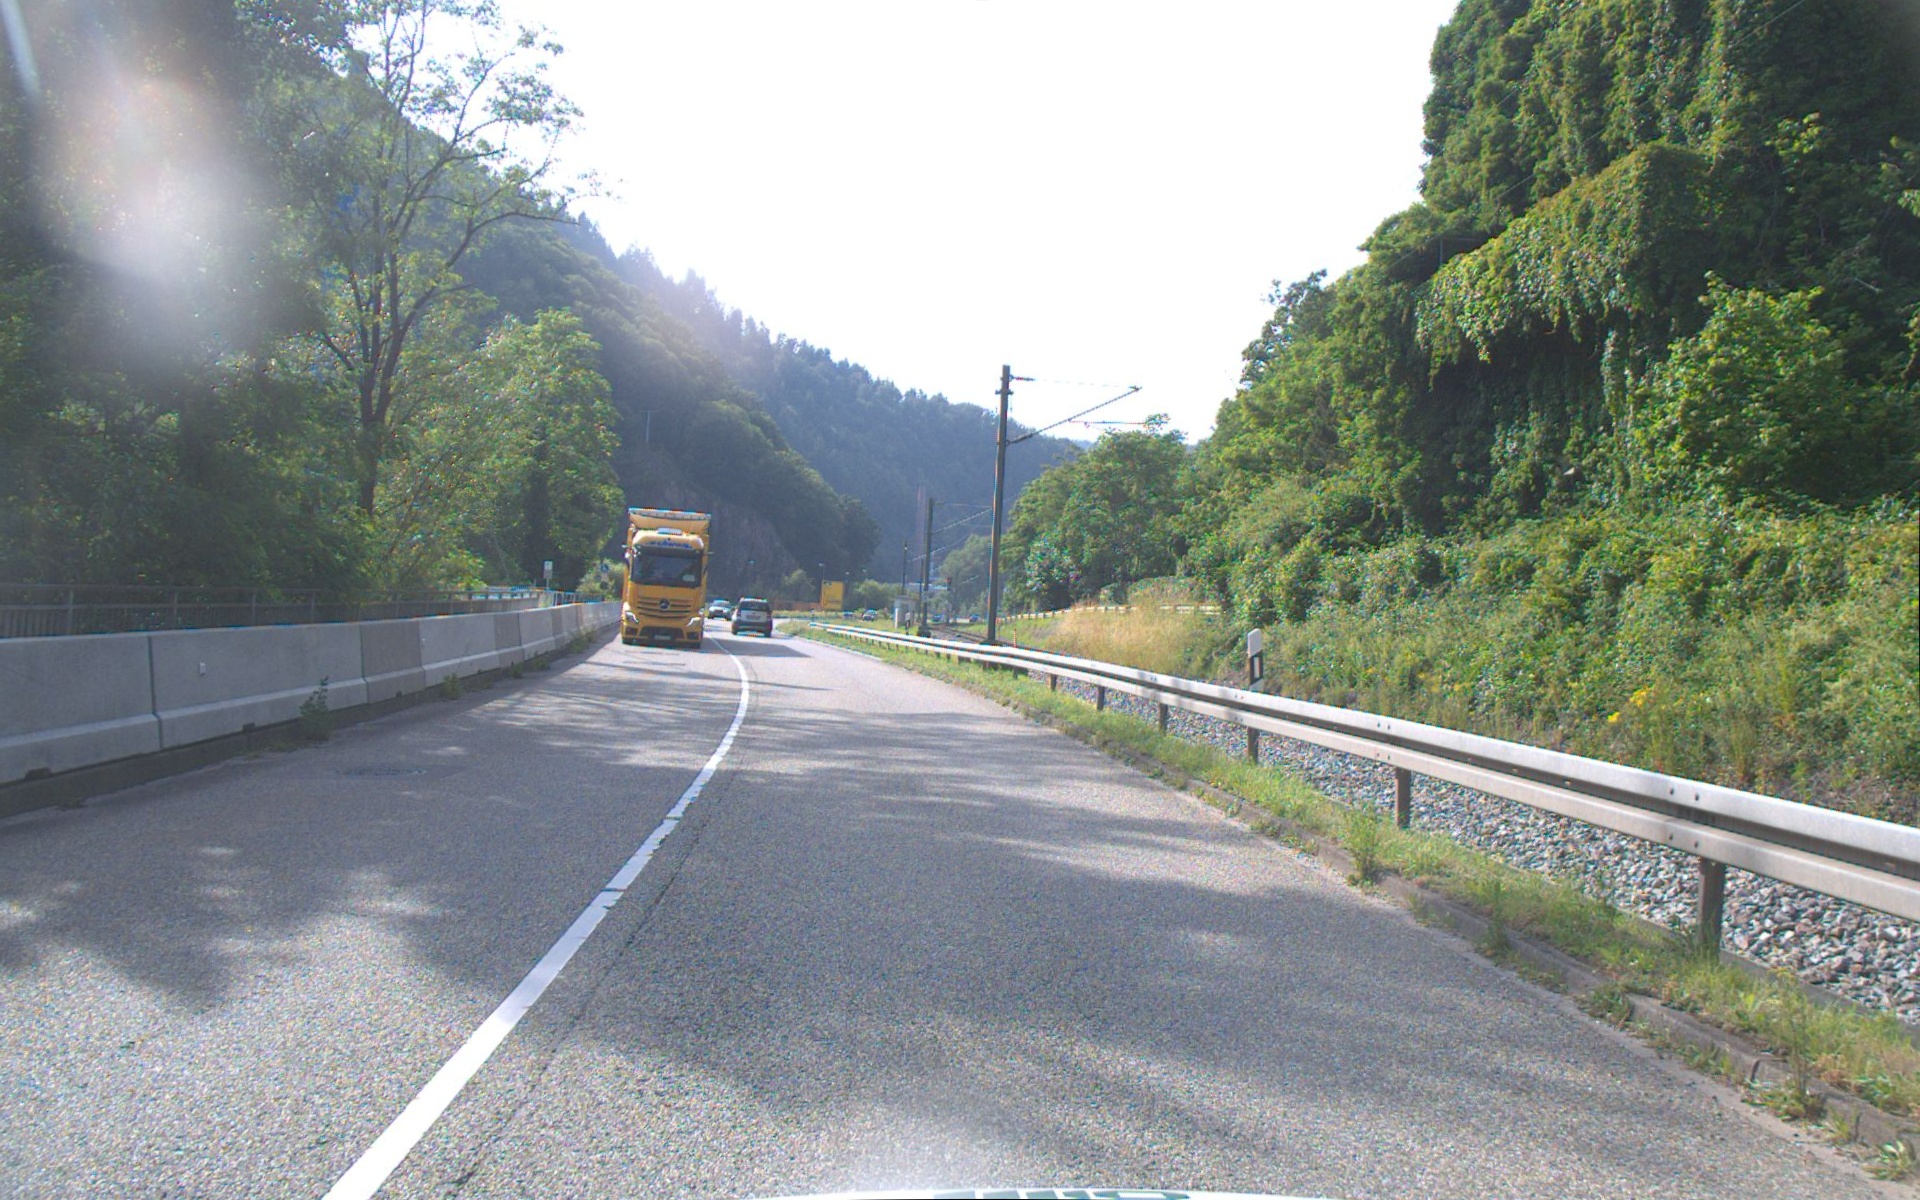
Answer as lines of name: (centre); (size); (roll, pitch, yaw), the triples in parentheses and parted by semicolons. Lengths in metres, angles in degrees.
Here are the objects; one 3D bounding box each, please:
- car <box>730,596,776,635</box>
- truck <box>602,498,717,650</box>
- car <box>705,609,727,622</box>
car: (-9.454, 0.710, 75.360); (1.839, 1.685, 3.990); (1, -1, -10)
truck: (-10.186, -0.635, 55.148); (3.310, 4.460, 12.669); (1, -1, -12)
car: (-21.545, 1.366, 146.303); (1.443, 1.103, 3.272); (5, 0, -1)
